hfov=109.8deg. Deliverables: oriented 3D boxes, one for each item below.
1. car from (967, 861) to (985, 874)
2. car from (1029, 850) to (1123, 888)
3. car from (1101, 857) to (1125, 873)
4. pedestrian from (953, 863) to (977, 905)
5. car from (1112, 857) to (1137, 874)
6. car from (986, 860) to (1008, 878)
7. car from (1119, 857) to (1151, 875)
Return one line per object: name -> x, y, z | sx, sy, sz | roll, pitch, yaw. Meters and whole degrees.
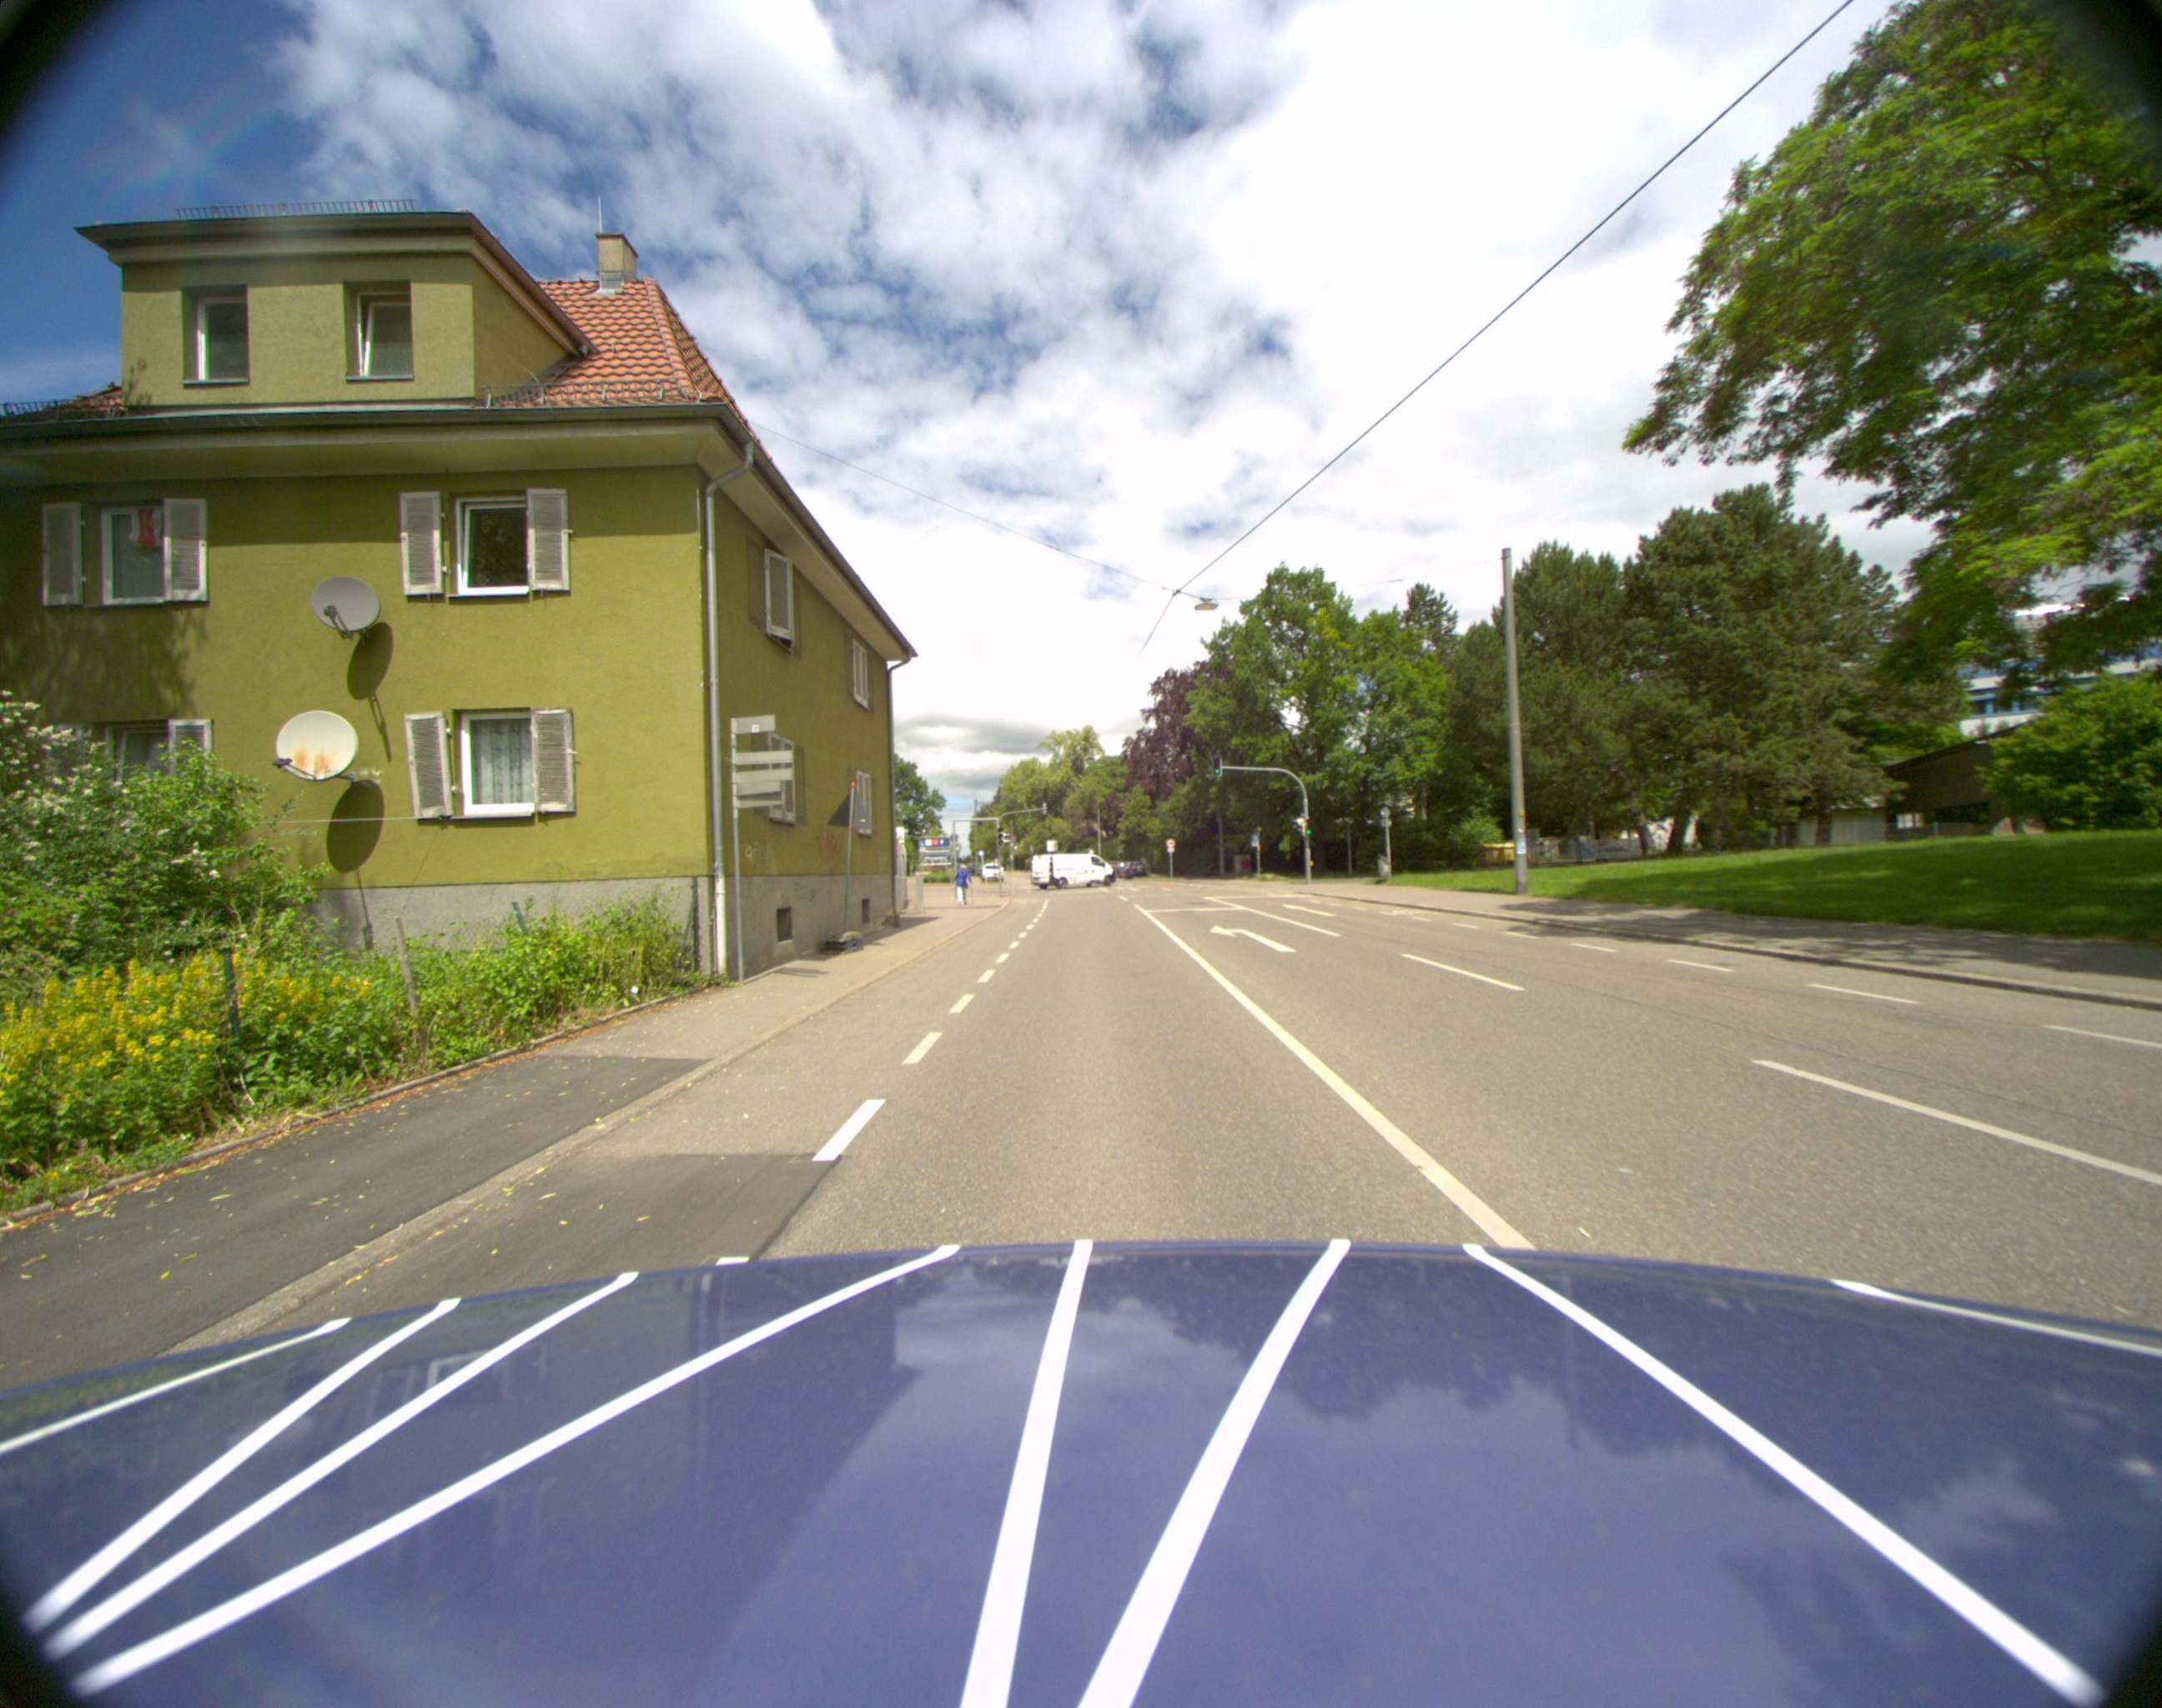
car -> -13.082, 1.649, 94.646 | 1.707, 1.522, 3.995 | -3, 0, -15
car -> -0.243, 0.822, 44.173 | 5.362, 2.011, 1.994 | -1, 0, -40
car -> 3.132, 1.038, 74.614 | 1.524, 1.469, 3.321 | -3, 0, -12
pedestrian -> -4.452, 1.129, 29.271 | 0.826, 1.563, 0.987 | -1, 0, -4
car -> 3.969, 1.033, 70.105 | 1.560, 1.404, 3.191 | -3, 1, -9
car -> -7.375, 1.299, 66.565 | 1.796, 1.522, 3.918 | 0, 0, -9
car -> 4.594, 1.016, 65.479 | 1.688, 1.407, 4.398 | -3, 1, -9
